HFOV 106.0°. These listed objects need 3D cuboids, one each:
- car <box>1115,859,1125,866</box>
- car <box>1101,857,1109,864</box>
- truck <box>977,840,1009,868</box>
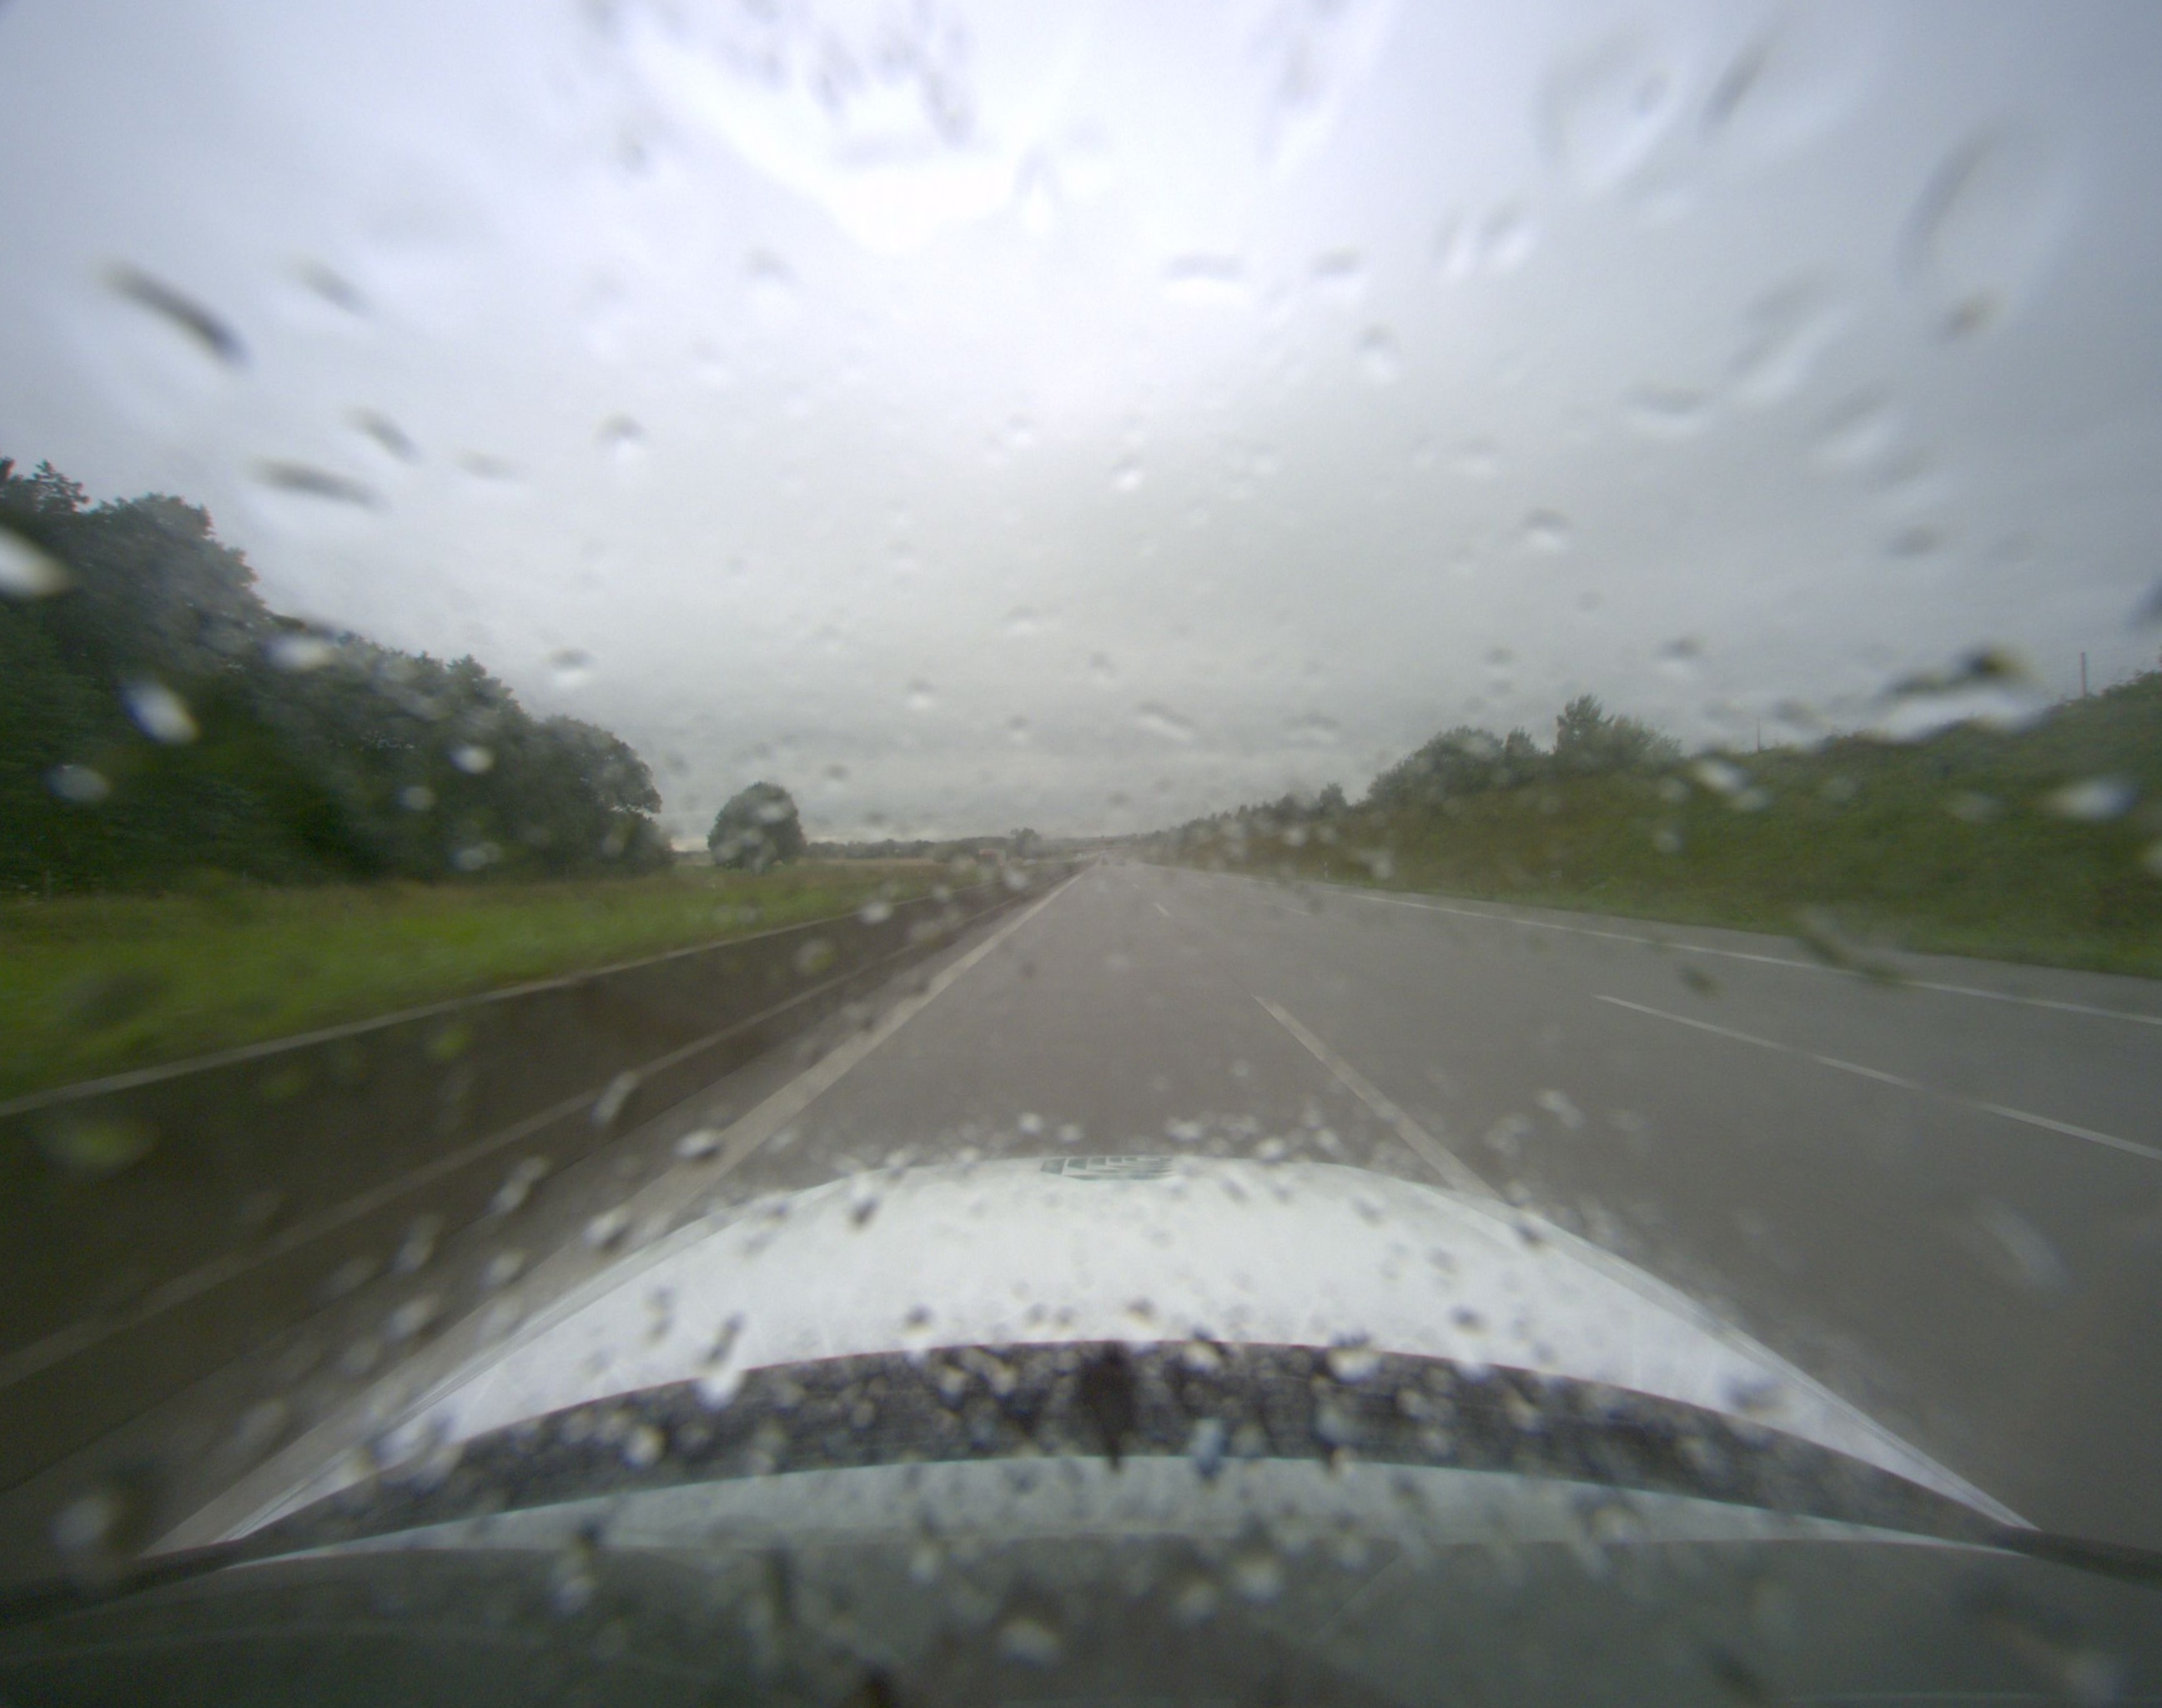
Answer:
[{"bbox_3d":[8.025,1.793,167.991,1.841,1.331,4.430,-1,1,0],"label":"car"},{"bbox_3d":[5.569,1.435,185.697,1.722,1.331,4.432,-1,1,2],"label":"car"},{"bbox_3d":[-12.961,-0.089,121.389,2.892,3.855,12.455,-2,1,2],"label":"truck"}]
